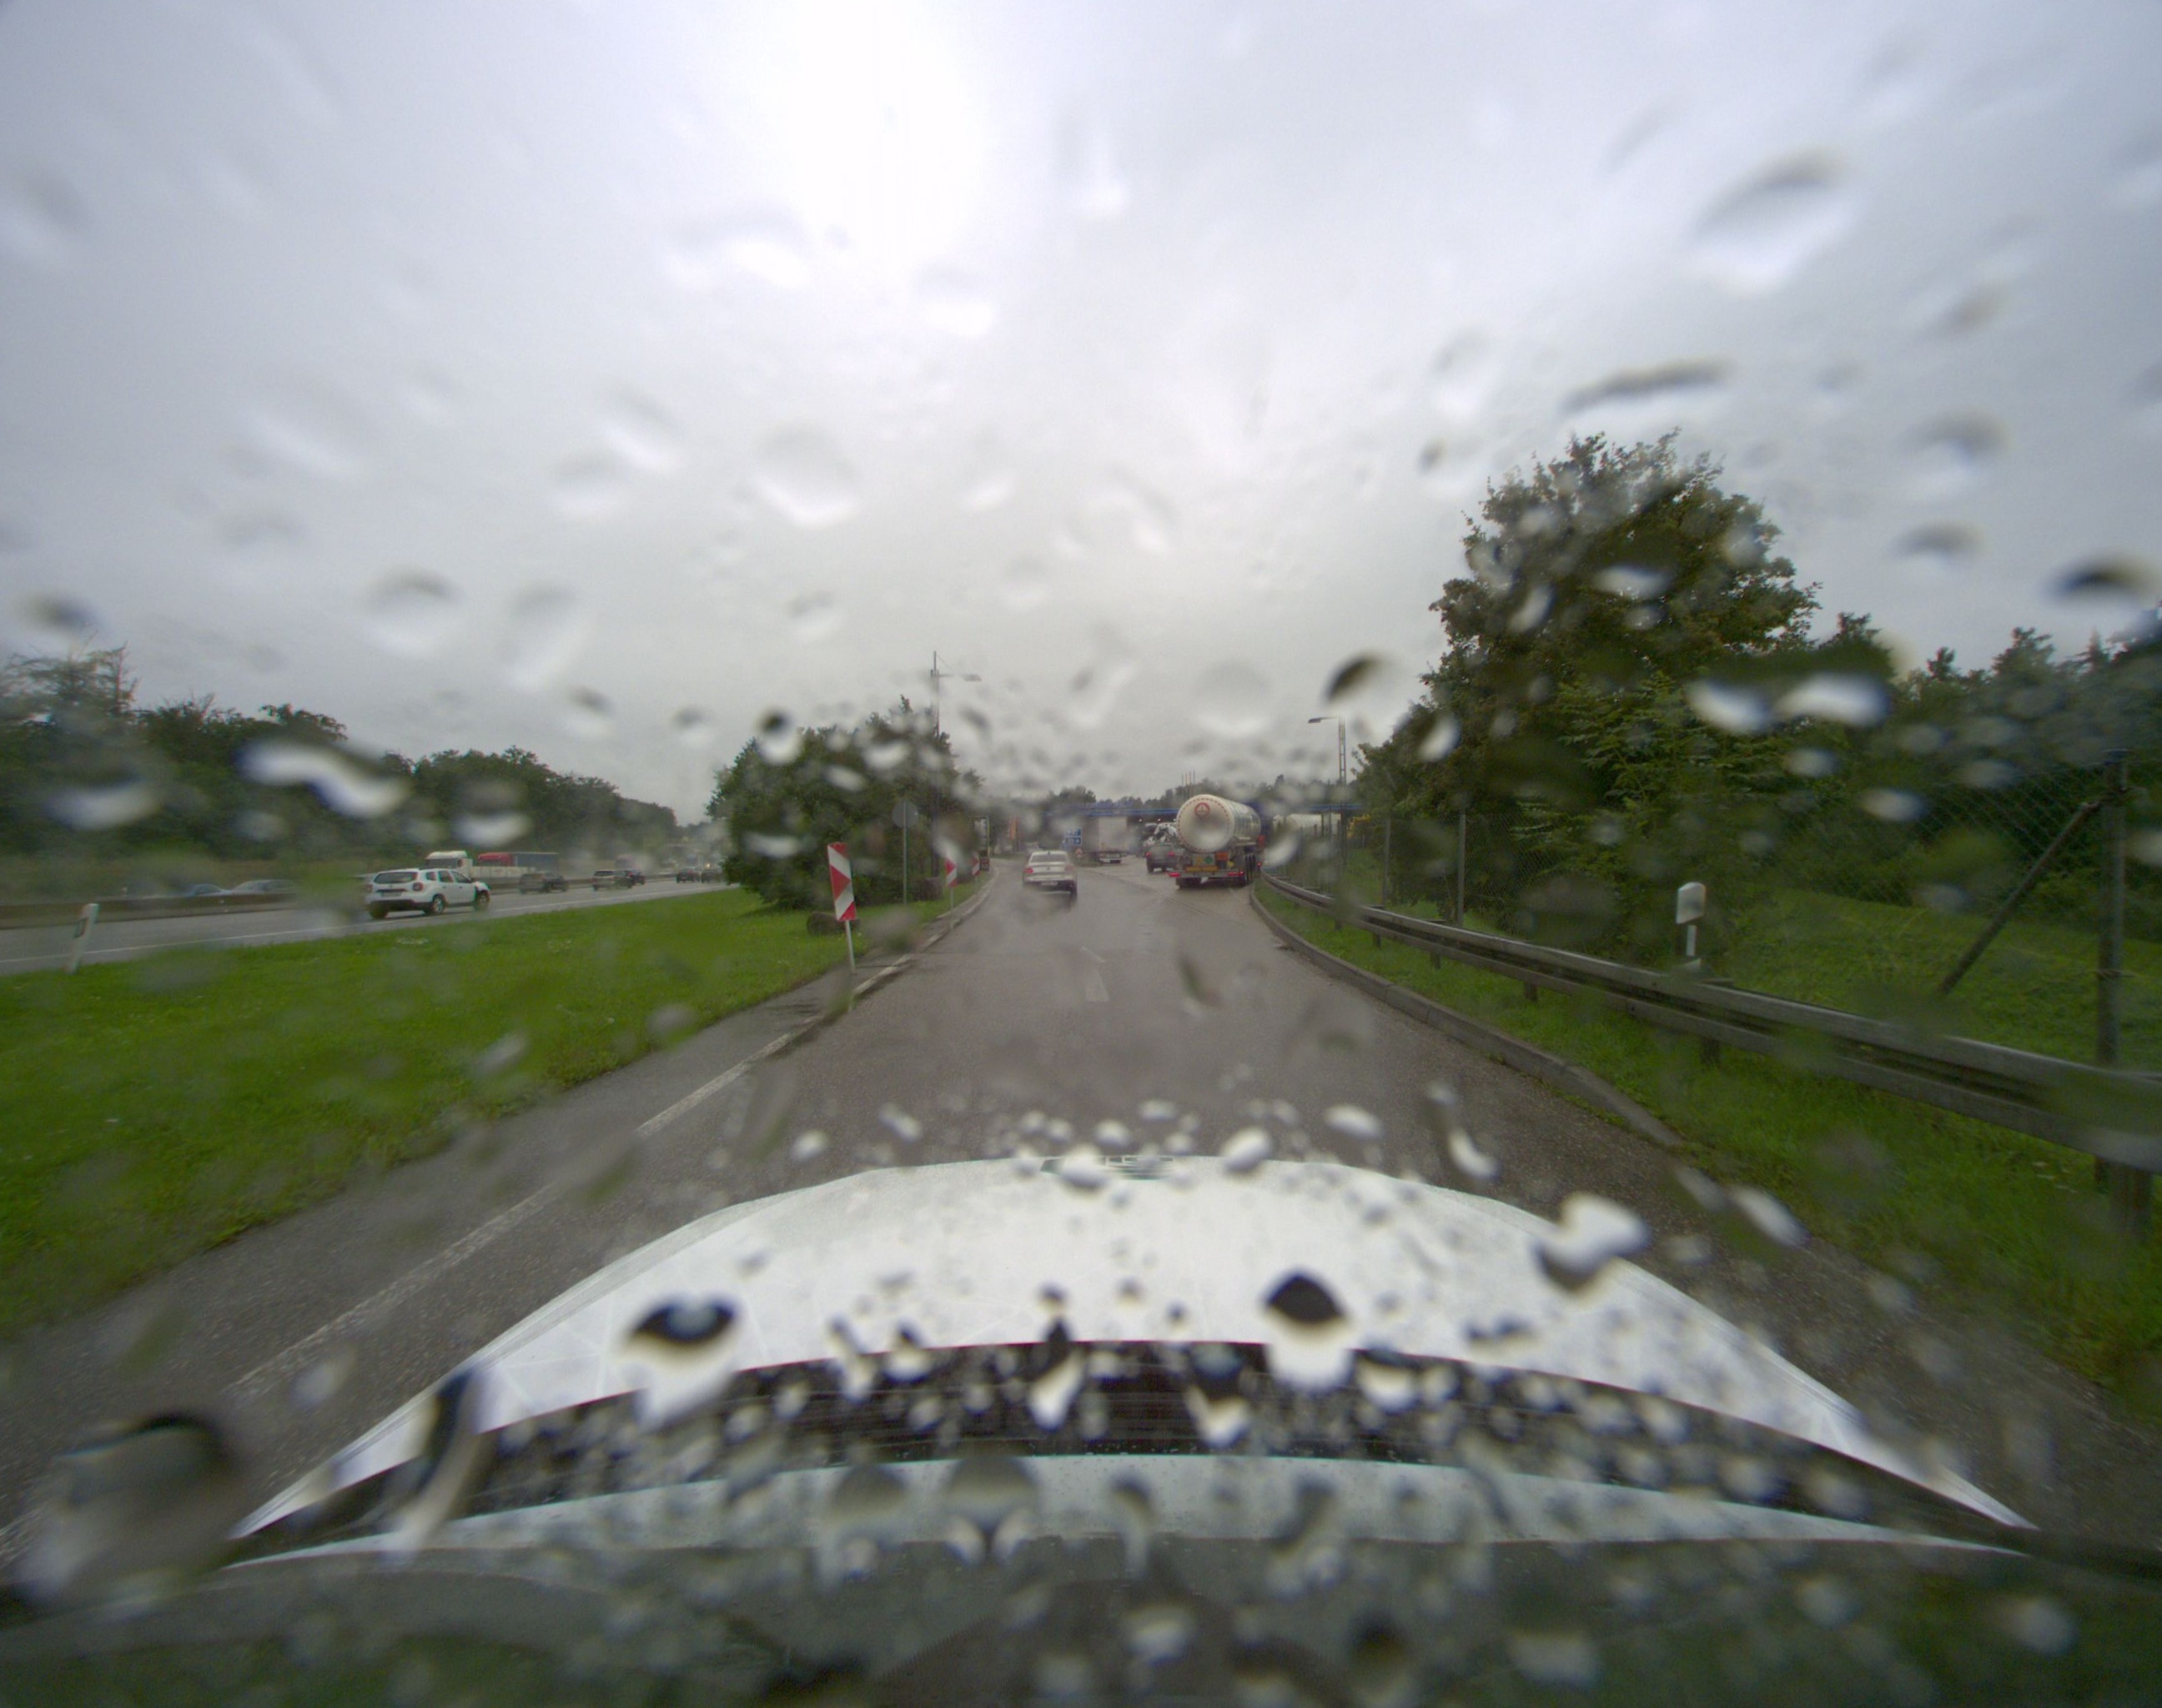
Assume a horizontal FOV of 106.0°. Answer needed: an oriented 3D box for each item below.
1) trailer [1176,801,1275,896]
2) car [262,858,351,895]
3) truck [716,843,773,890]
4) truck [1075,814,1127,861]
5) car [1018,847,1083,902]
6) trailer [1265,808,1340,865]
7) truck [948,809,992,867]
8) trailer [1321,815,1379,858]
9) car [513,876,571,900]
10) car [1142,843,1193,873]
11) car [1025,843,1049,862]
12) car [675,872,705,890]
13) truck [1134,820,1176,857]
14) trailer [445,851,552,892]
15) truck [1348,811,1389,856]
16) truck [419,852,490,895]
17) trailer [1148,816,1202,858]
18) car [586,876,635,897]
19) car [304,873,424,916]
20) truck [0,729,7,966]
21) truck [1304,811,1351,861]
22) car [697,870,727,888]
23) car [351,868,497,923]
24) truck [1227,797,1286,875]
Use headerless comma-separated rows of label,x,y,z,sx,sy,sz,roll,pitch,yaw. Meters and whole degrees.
trailer,6.078,-0.255,32.782,1.963,3.224,10.375,-1,0,21
car,-50.251,1.430,52.950,1.992,2.013,3.990,7,0,-7
truck,-33.086,1.286,80.582,2.850,4.293,11.797,-1,-1,-11
truck,1.620,-1.420,74.163,2.370,3.873,12.416,-2,1,-9
car,-0.952,0.660,27.386,1.987,1.679,3.999,-1,-1,0
trailer,14.900,-1.142,54.084,2.111,3.440,10.318,-1,1,31
truck,-8.133,-1.136,59.203,2.914,3.904,6.297,-1,1,-9
trailer,22.586,-1.470,68.097,2.161,3.392,7.612,-1,1,37
car,-39.369,2.468,59.576,1.717,1.574,4.447,-2,-1,-7
car,5.148,0.242,47.816,1.727,1.667,4.022,1,-1,25
car,-3.626,-0.125,67.256,1.874,1.461,3.997,0,0,-2
car,-41.473,2.858,86.435,1.776,1.736,4.086,-3,0,-10
truck,8.657,-1.834,96.692,3.231,4.188,8.424,0,1,-7
trailer,-59.277,1.650,83.548,2.615,3.680,14.623,2,0,-10
truck,25.290,-1.805,71.600,2.160,3.828,4.168,-1,1,37
truck,-57.890,1.715,75.429,2.622,3.670,5.972,2,0,-10
trailer,9.842,-1.752,86.815,3.213,4.188,11.502,0,1,-7
car,-37.091,2.524,64.317,1.787,1.527,4.323,-2,-1,-7
car,-31.385,1.723,35.850,1.926,1.663,4.442,-2,-1,-11
truck,-19.376,-0.113,10.793,2.873,4.052,5.913,-2,-1,-10
truck,18.054,-1.300,59.494,2.125,3.513,4.675,-1,1,30
car,-36.948,2.509,81.625,1.776,1.736,3.833,-2,-1,-10
car,-21.682,1.311,27.118,1.785,1.586,4.310,-2,0,-9
truck,8.536,-0.845,39.359,2.035,3.531,4.771,-1,0,21
